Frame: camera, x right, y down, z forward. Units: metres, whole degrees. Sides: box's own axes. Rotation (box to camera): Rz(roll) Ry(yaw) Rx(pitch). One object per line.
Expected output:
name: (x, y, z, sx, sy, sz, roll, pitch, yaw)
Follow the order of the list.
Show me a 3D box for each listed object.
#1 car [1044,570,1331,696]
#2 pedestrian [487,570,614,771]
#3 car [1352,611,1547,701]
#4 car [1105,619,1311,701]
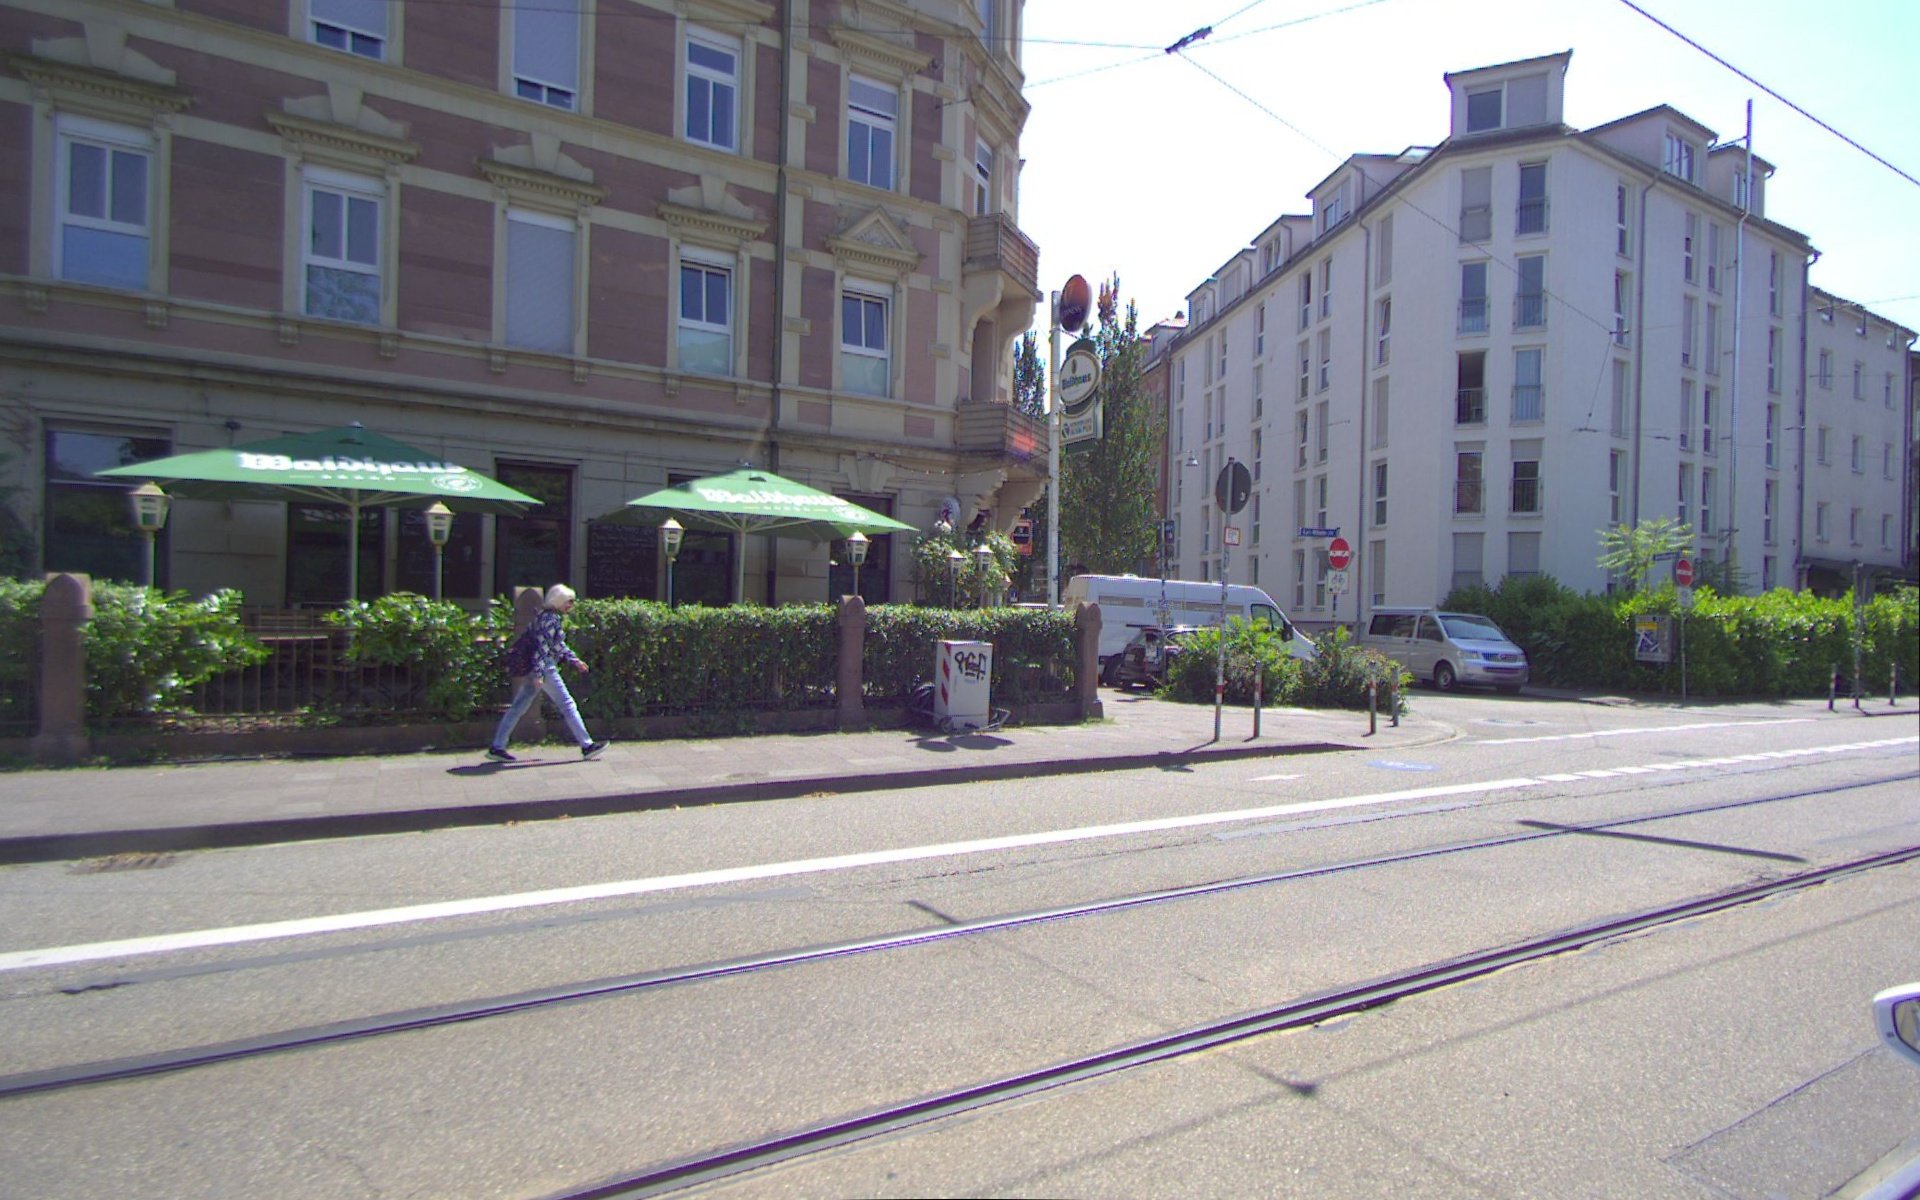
car: (5.163, 0.775, 23.090, 6.079, 2.624, 2.122, 2, -1, -11)
pedestrian: (-3.618, 0.602, 8.865, 0.927, 1.663, 0.737, 2, -1, -27)
car: (12.165, 1.318, 25.396, 2.117, 2.011, 4.698, 2, -1, -9)
car: (4.963, 1.196, 20.194, 3.695, 1.457, 1.590, 2, -1, -15)
